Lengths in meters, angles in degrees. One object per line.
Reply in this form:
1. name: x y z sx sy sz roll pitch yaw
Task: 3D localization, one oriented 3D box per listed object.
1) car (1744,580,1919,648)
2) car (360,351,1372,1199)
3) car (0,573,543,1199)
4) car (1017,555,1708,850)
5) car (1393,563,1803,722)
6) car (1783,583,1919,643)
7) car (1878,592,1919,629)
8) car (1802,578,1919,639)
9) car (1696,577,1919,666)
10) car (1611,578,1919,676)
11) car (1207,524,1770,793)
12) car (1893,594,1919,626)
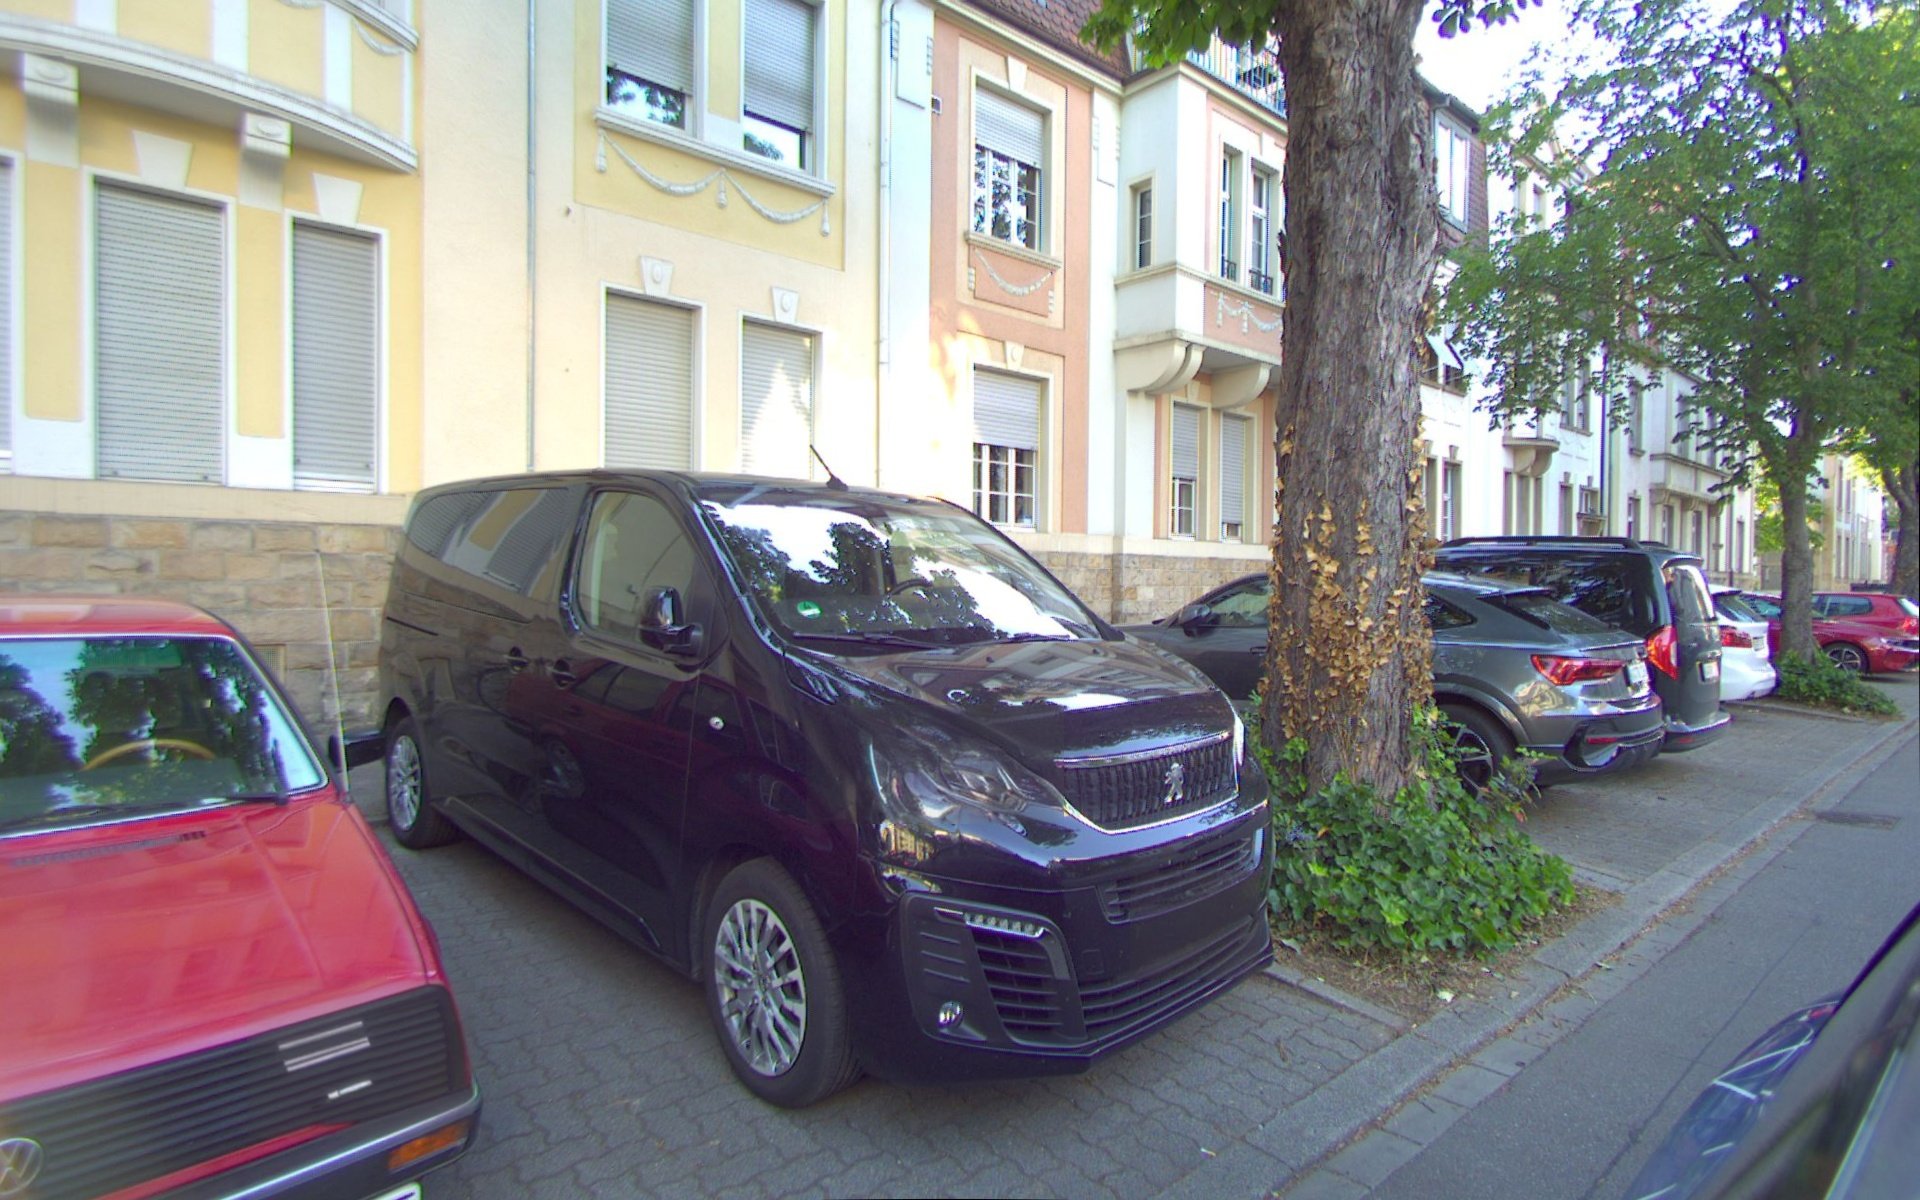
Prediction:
1. car: 21.847 0.300 24.963 1.548 1.484 3.681 0 3 -39
2. car: -0.945 0.328 4.464 1.867 1.897 4.753 -1 3 -44
3. car: -2.881 0.631 3.024 1.603 1.332 4.139 -1 3 -44
4. car: 2.716 0.468 7.669 1.815 1.542 4.513 -1 3 -44
5. car: 7.696 0.379 12.514 1.689 1.597 3.948 0 3 -41
6. car: 23.989 0.322 26.393 1.548 1.416 3.681 0 3 -39
7. car: 31.890 0.382 32.456 1.515 1.164 3.399 0 3 -39
8. car: 25.865 0.235 28.021 1.548 1.576 3.681 0 2 -39
9. car: 16.889 0.356 19.808 1.628 1.499 3.682 0 2 -38
10. car: 14.779 0.385 18.452 1.833 1.470 4.533 0 3 -38
11. car: 4.512 0.310 9.135 1.814 1.860 4.116 0 3 -42
12. car: 34.270 0.382 34.519 1.515 1.076 3.399 0 3 -39
